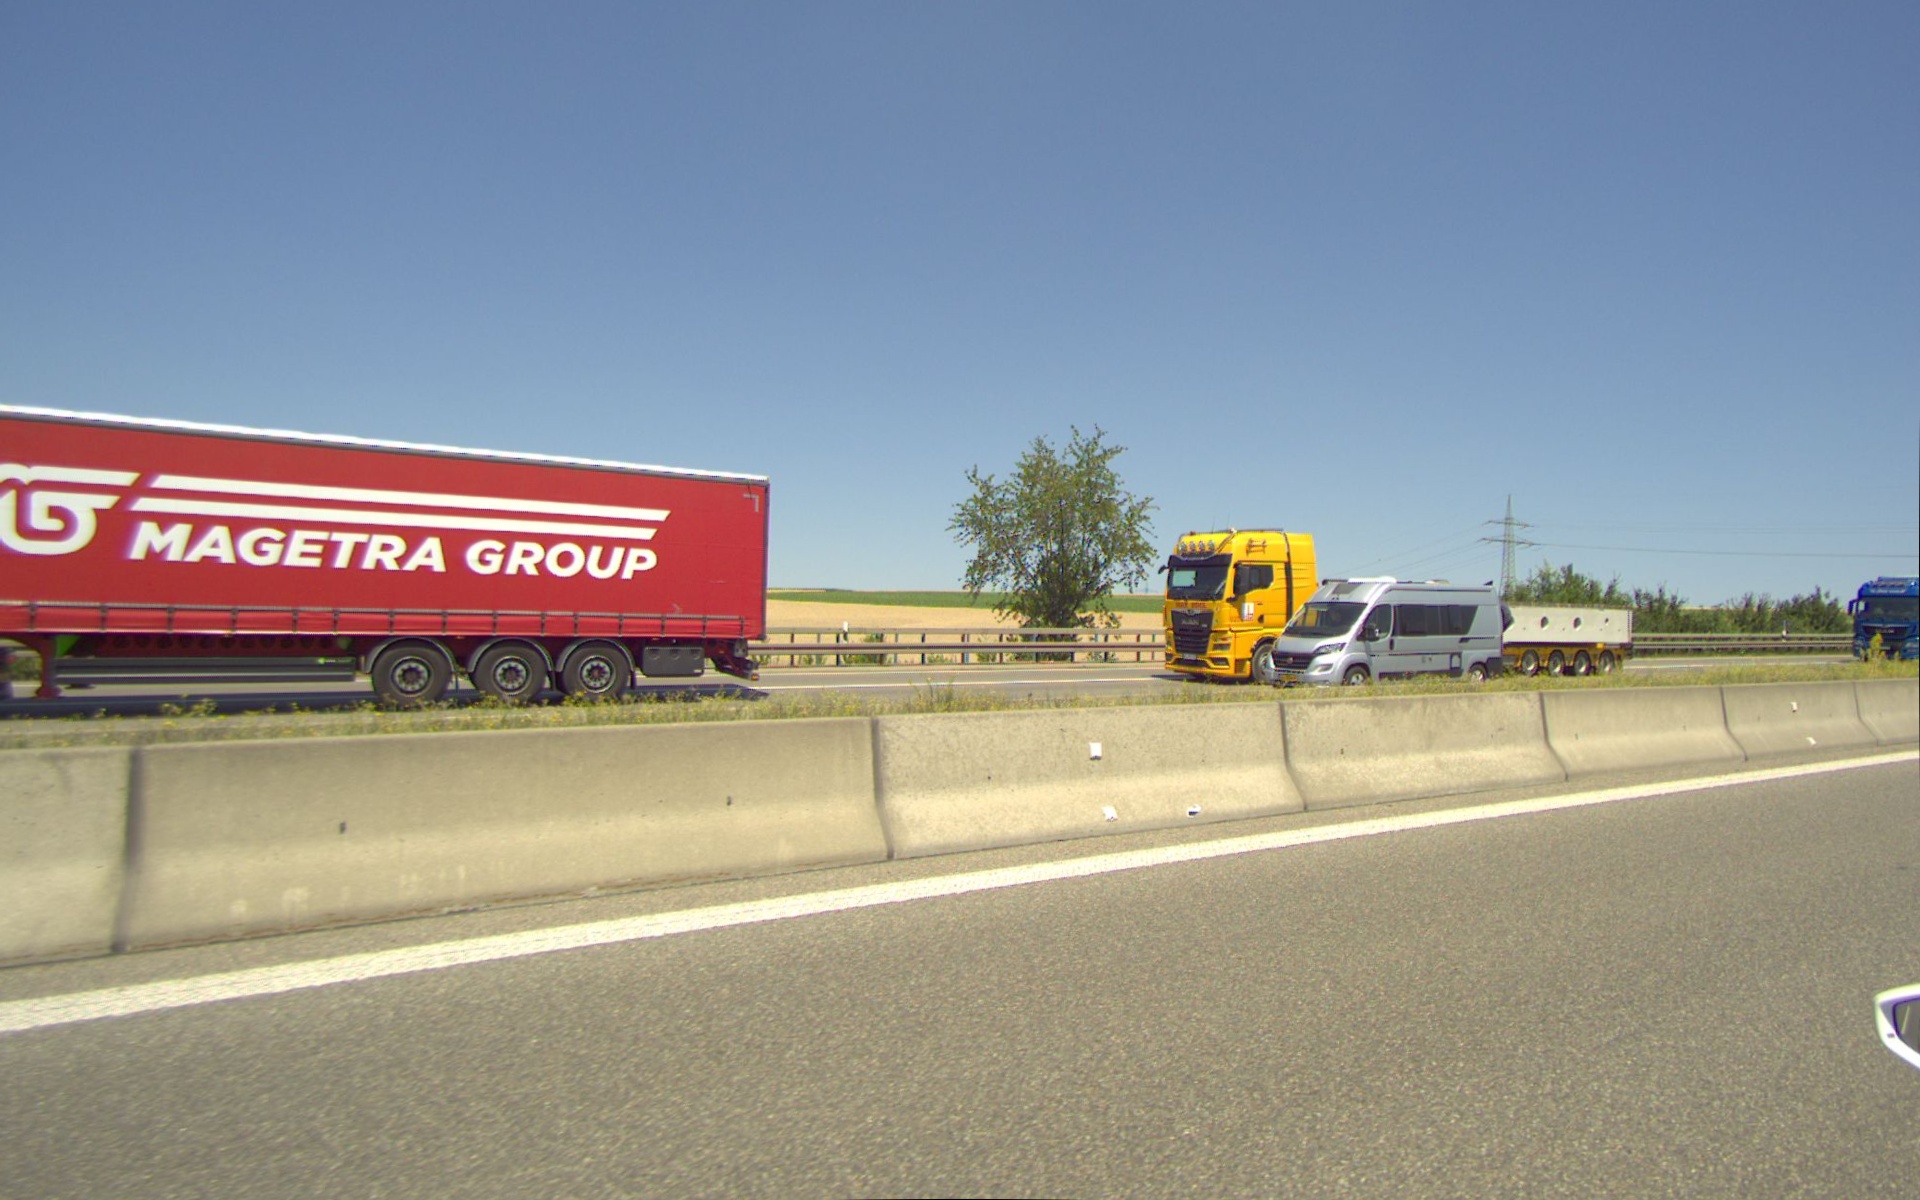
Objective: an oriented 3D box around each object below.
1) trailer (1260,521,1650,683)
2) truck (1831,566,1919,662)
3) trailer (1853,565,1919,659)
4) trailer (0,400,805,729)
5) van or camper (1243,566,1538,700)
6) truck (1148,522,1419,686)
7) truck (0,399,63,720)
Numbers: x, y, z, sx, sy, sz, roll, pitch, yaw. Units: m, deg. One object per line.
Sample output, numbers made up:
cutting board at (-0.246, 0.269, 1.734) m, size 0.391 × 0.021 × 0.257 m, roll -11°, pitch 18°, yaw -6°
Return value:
trailer at (15.408, 0.165, 30.457) m, size 14.202 × 4.155 × 2.940 m, roll 1°, pitch 0°, yaw -29°
truck at (43.779, 0.659, 46.449) m, size 6.850 × 4.144 × 3.063 m, roll 1°, pitch 0°, yaw -29°
trailer at (49.185, 0.699, 49.351) m, size 14.200 × 4.250 × 3.148 m, roll 1°, pitch 0°, yaw -28°
trailer at (-9.731, -0.371, 15.836) m, size 14.208 × 4.155 × 3.072 m, roll 1°, pitch 0°, yaw -30°
van or camper at (9.742, 0.728, 22.446) m, size 7.059 × 2.621 × 2.300 m, roll 2°, pitch 0°, yaw -30°
truck at (8.651, 0.142, 26.651) m, size 7.010 × 3.888 × 2.739 m, roll 1°, pitch 0°, yaw -28°
truck at (-15.629, -0.586, 12.372) m, size 6.240 × 4.136 × 3.021 m, roll 1°, pitch 0°, yaw -30°
